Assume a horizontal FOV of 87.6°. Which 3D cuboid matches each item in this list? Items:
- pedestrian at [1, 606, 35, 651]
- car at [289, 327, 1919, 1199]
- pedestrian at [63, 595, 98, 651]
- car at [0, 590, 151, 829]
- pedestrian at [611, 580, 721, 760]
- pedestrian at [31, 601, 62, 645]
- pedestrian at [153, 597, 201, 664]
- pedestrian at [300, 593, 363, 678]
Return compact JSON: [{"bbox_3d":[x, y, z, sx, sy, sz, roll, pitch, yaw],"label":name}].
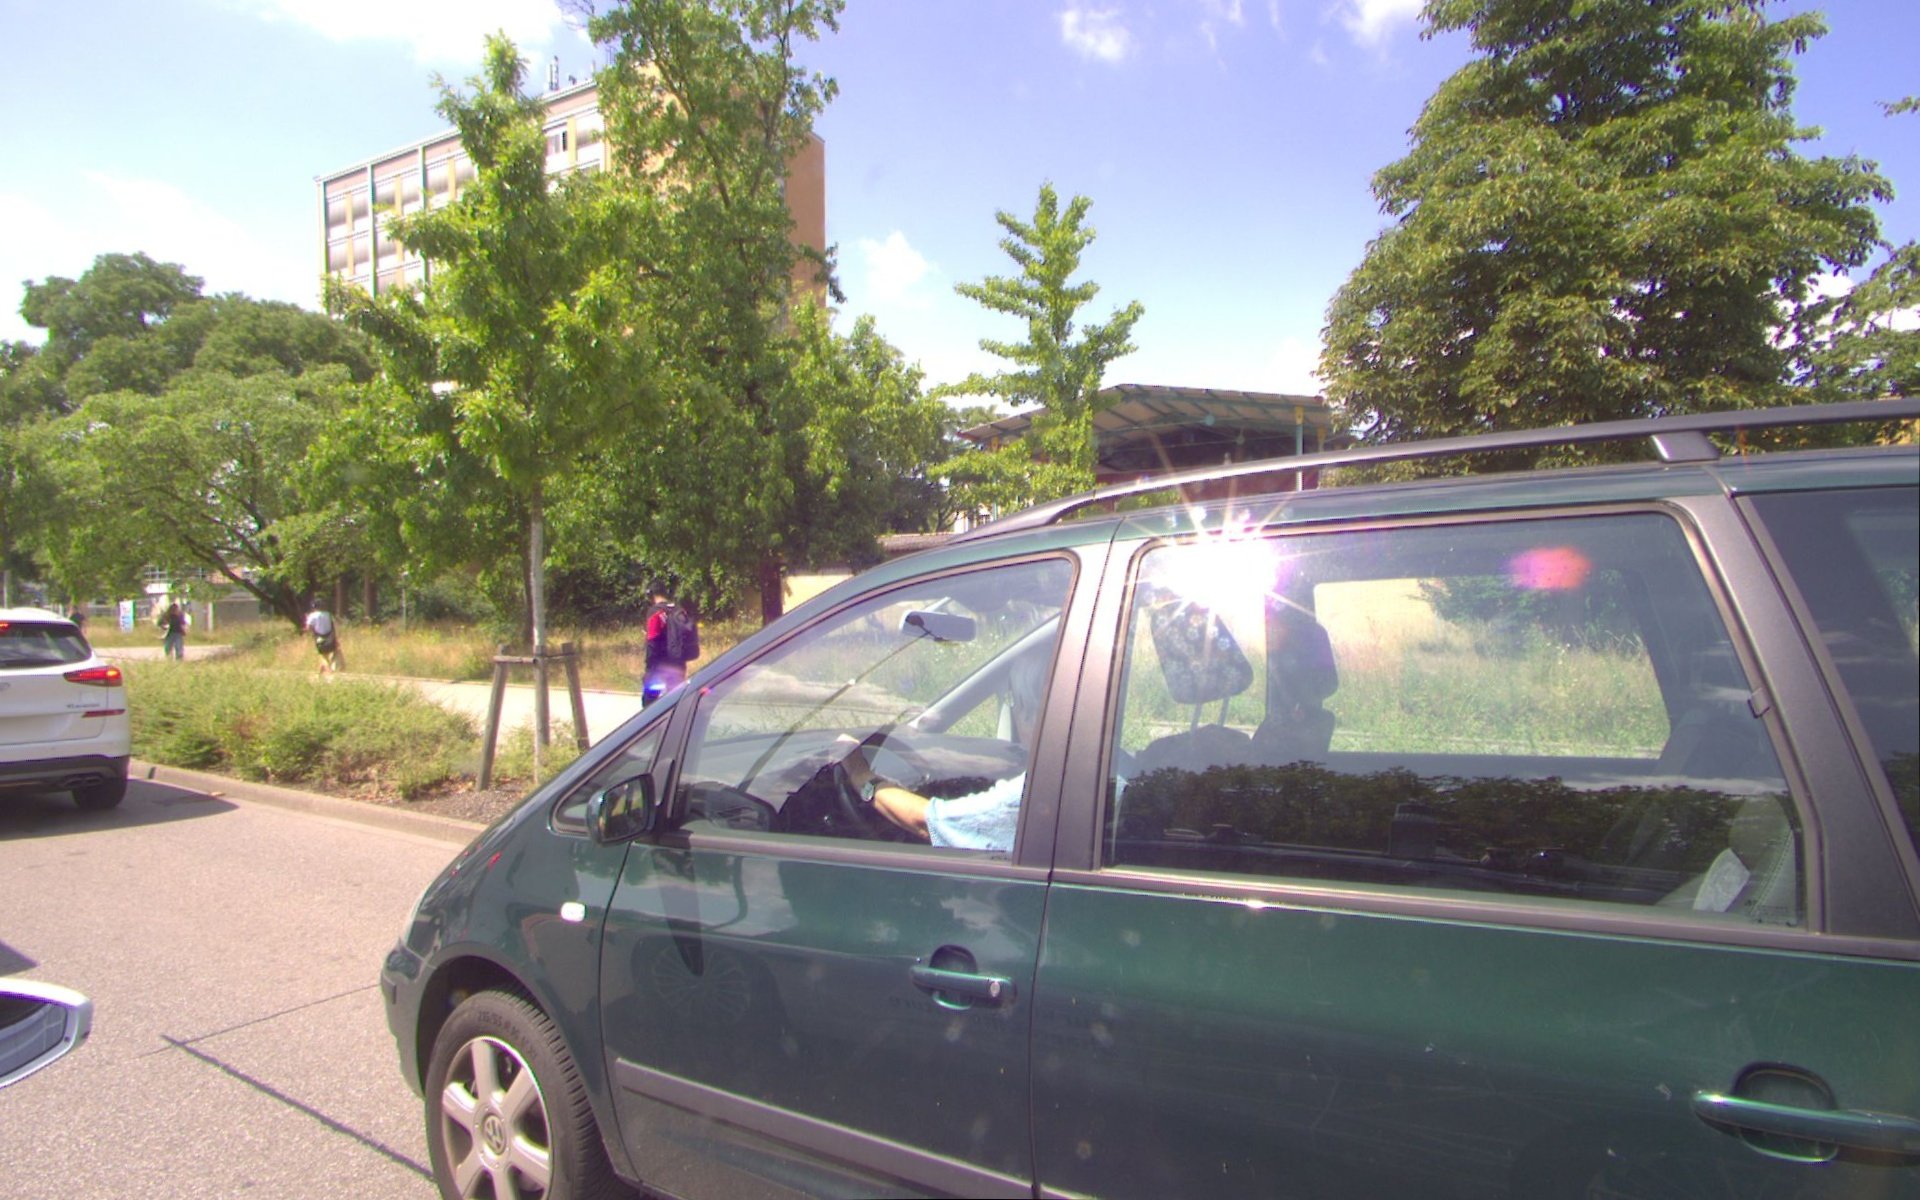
[{"bbox_3d":[-40.072,1.197,42.606,0.802,1.874,0.759,0,1,22],"label":"pedestrian"},{"bbox_3d":[0.541,0.640,2.273,4.329,1.737,1.799,0,-2,32],"label":"car"},{"bbox_3d":[-29.298,0.754,33.358,0.806,1.813,0.755,0,0,40],"label":"pedestrian"},{"bbox_3d":[-8.466,0.788,8.193,3.919,1.700,1.810,0,0,34],"label":"car"},{"bbox_3d":[-2.945,0.664,10.015,0.807,1.706,0.754,0,1,44],"label":"pedestrian"},{"bbox_3d":[-39.728,0.994,43.550,0.803,1.874,0.759,0,0,24],"label":"pedestrian"},{"bbox_3d":[-19.880,0.764,25.430,0.805,1.677,0.756,0,1,36],"label":"pedestrian"},{"bbox_3d":[-11.998,0.661,19.121,0.805,1.578,0.757,0,1,34],"label":"pedestrian"}]
